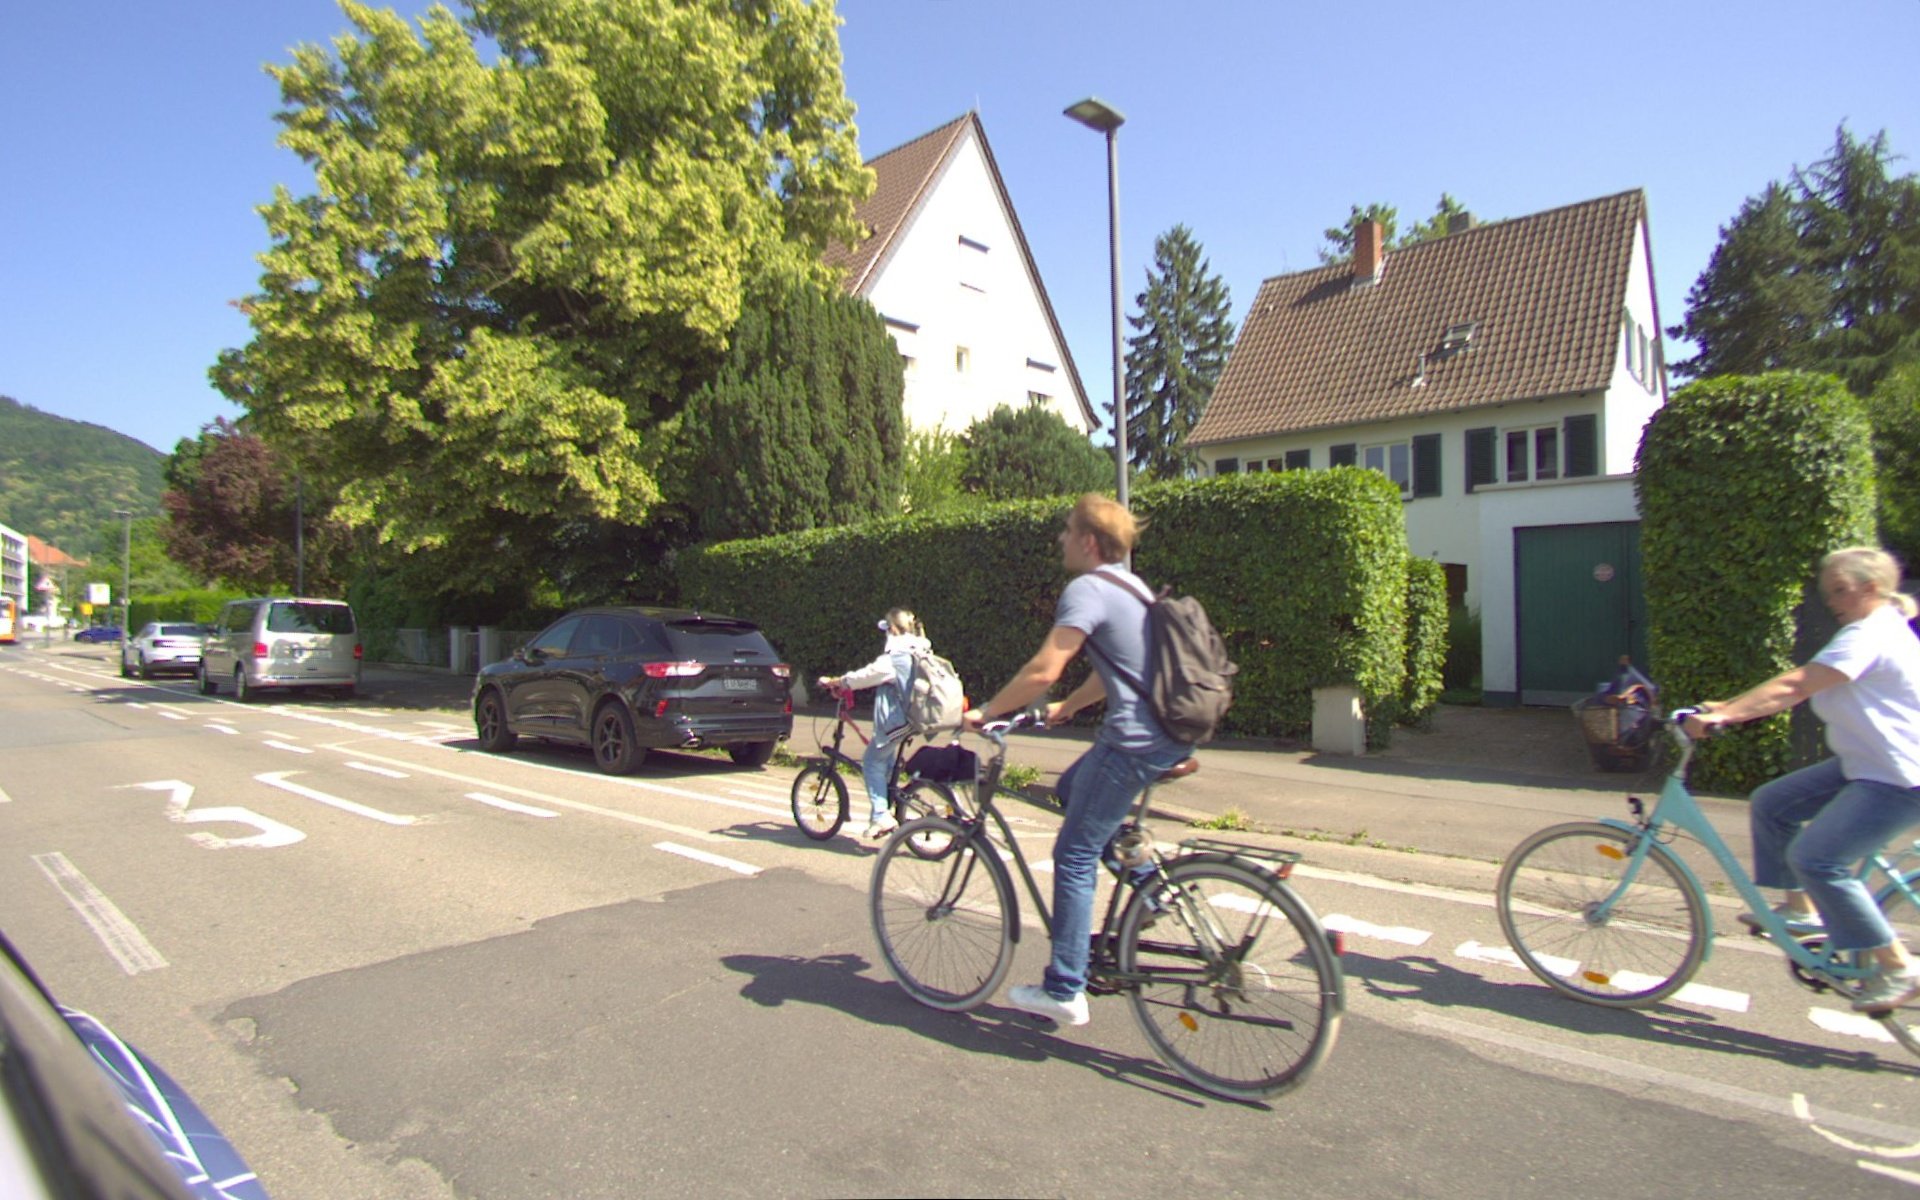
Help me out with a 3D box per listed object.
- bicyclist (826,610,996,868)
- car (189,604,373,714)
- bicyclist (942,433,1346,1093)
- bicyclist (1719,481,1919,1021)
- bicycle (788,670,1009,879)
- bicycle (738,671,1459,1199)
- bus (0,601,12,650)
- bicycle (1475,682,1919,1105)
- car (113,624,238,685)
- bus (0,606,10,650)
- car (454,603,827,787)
[{"bbox_3d":[-0.312,0.805,6.268,0.964,1.465,0.485,-1,-3,42],"label":"bicyclist"},{"bbox_3d":[-13.583,1.152,20.117,4.867,1.934,1.864,-2,-5,42],"label":"car"},{"bbox_3d":[0.578,0.428,3.215,1.021,1.680,0.741,-1,-3,42],"label":"bicyclist"},{"bbox_3d":[3.032,0.456,3.271,0.859,1.592,0.668,-1,-3,42],"label":"bicyclist"},{"bbox_3d":[-0.406,1.019,6.330,1.346,1.113,0.594,-1,-3,42],"label":"bicycle"},{"bbox_3d":[0.292,0.879,3.456,2.419,1.175,0.774,-1,-3,42],"label":"bicycle"},{"bbox_3d":[-67.246,1.754,69.566,2.713,3.199,9.785,3,-3,-44],"label":"bus"},{"bbox_3d":[2.892,0.916,3.365,2.035,1.194,0.553,-1,-4,42],"label":"bicycle"},{"bbox_3d":[-20.952,1.447,26.957,4.561,1.497,1.813,-2,-5,43],"label":"car"},{"bbox_3d":[-73.958,2.135,76.641,2.713,3.199,9.785,3,-3,-44],"label":"bus"},{"bbox_3d":[-3.642,0.925,11.117,4.446,1.623,1.831,-1,-4,42],"label":"car"}]
